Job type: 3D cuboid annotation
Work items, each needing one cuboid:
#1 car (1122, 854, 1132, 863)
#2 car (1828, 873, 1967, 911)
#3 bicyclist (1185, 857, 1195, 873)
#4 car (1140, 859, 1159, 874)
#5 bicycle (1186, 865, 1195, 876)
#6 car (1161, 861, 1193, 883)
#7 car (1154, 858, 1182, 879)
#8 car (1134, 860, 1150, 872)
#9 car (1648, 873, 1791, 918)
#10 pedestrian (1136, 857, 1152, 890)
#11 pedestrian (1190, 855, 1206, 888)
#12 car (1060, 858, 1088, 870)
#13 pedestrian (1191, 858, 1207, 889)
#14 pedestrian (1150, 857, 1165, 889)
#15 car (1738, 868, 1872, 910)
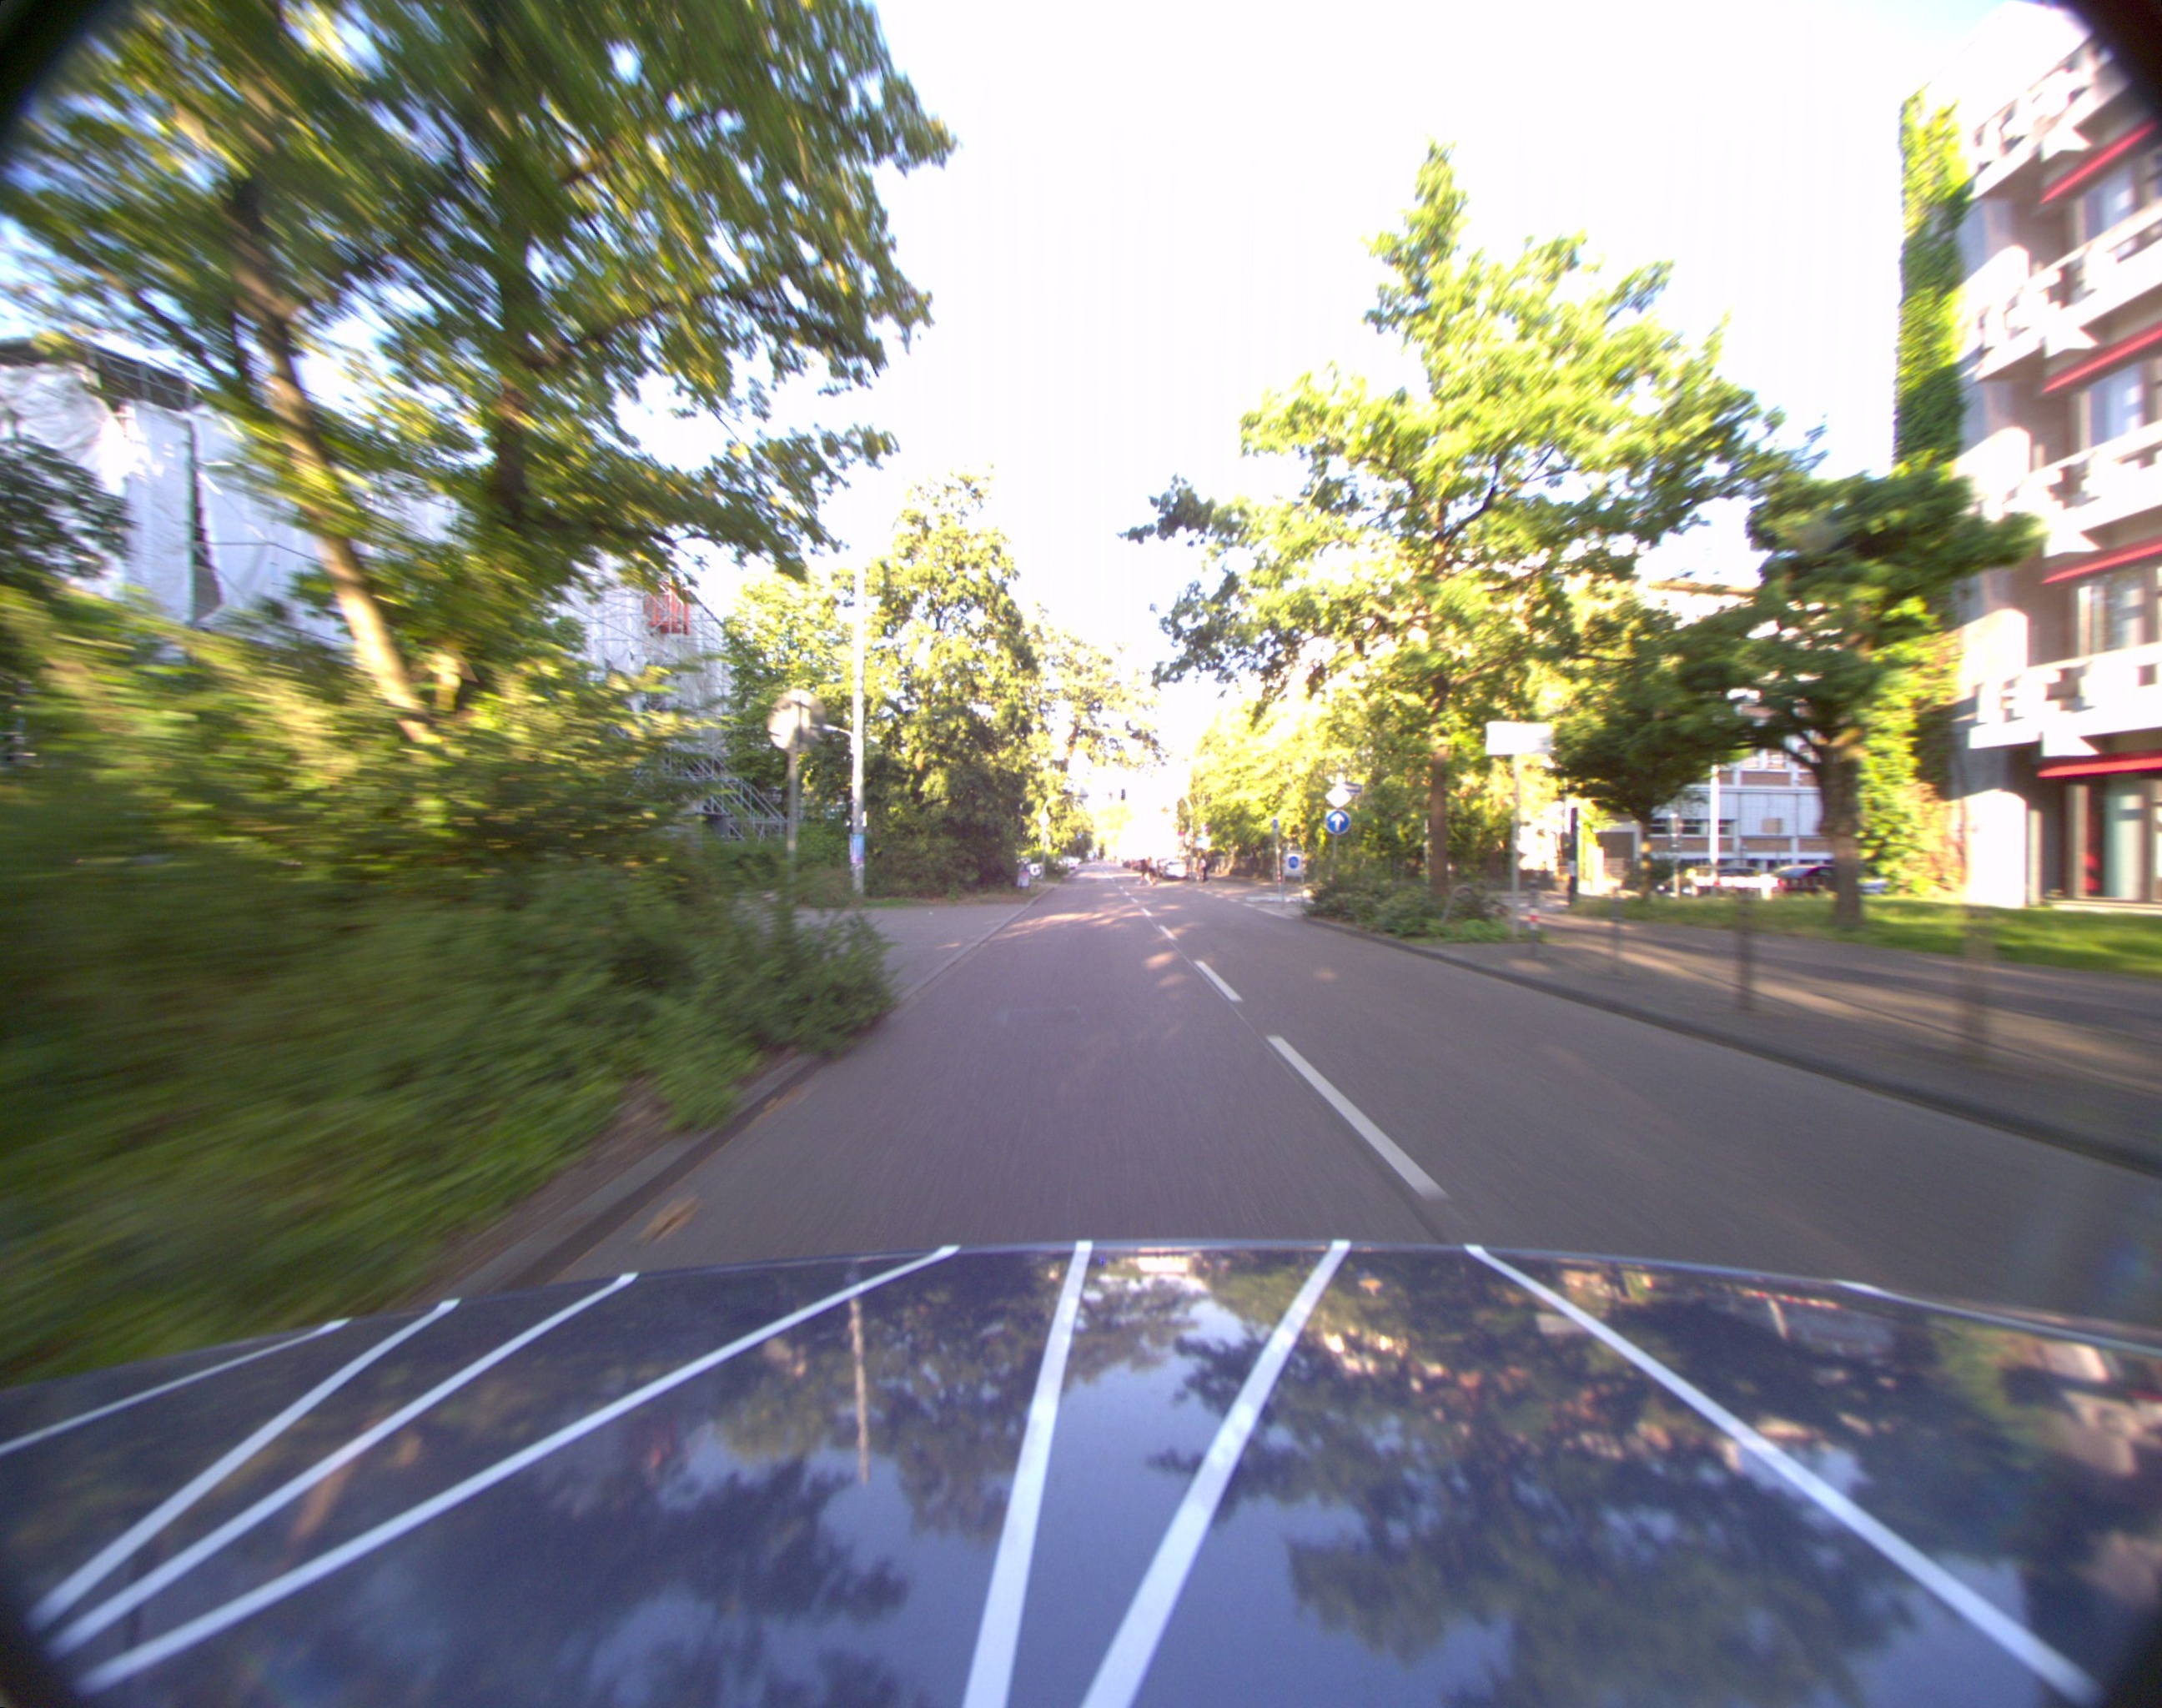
[{"bbox_3d":[8.758,0.820,144.597,1.776,1.559,4.109,-1,0,1],"label":"car"},{"bbox_3d":[31.084,1.446,28.967,3.801,1.284,1.775,1,2,-10],"label":"car"},{"bbox_3d":[10.456,1.051,72.944,0.752,1.445,1.060,1,0,2],"label":"bicyclist"},{"bbox_3d":[7.446,1.373,83.363,1.776,1.559,4.109,-1,0,1],"label":"car"},{"bbox_3d":[10.497,1.558,73.151,0.625,1.008,2.147,1,0,2],"label":"bicycle"},{"bbox_3d":[6.711,1.249,53.577,1.776,1.474,4.109,-1,0,1],"label":"car"},{"bbox_3d":[6.826,1.121,59.707,1.776,1.559,4.109,-1,0,1],"label":"car"},{"bbox_3d":[7.842,1.523,98.498,1.776,1.559,4.109,-1,0,1],"label":"car"},{"bbox_3d":[23.082,1.491,27.523,3.963,1.441,1.775,1,2,-10],"label":"car"},{"bbox_3d":[3.489,1.075,42.158,0.784,1.825,0.673,-2,0,4],"label":"pedestrian"},{"bbox_3d":[6.563,0.963,42.761,0.784,1.825,0.673,-2,0,4],"label":"pedestrian"},{"bbox_3d":[-0.989,1.363,104.949,2.004,1.630,3.990,-1,0,-36],"label":"car"},{"bbox_3d":[6.474,1.049,41.641,0.784,1.665,0.673,-2,0,4],"label":"pedestrian"},{"bbox_3d":[4.360,1.075,43.274,0.784,1.825,0.673,-2,0,4],"label":"pedestrian"},{"bbox_3d":[26.946,1.297,28.335,3.646,1.399,1.775,1,2,-10],"label":"car"}]
